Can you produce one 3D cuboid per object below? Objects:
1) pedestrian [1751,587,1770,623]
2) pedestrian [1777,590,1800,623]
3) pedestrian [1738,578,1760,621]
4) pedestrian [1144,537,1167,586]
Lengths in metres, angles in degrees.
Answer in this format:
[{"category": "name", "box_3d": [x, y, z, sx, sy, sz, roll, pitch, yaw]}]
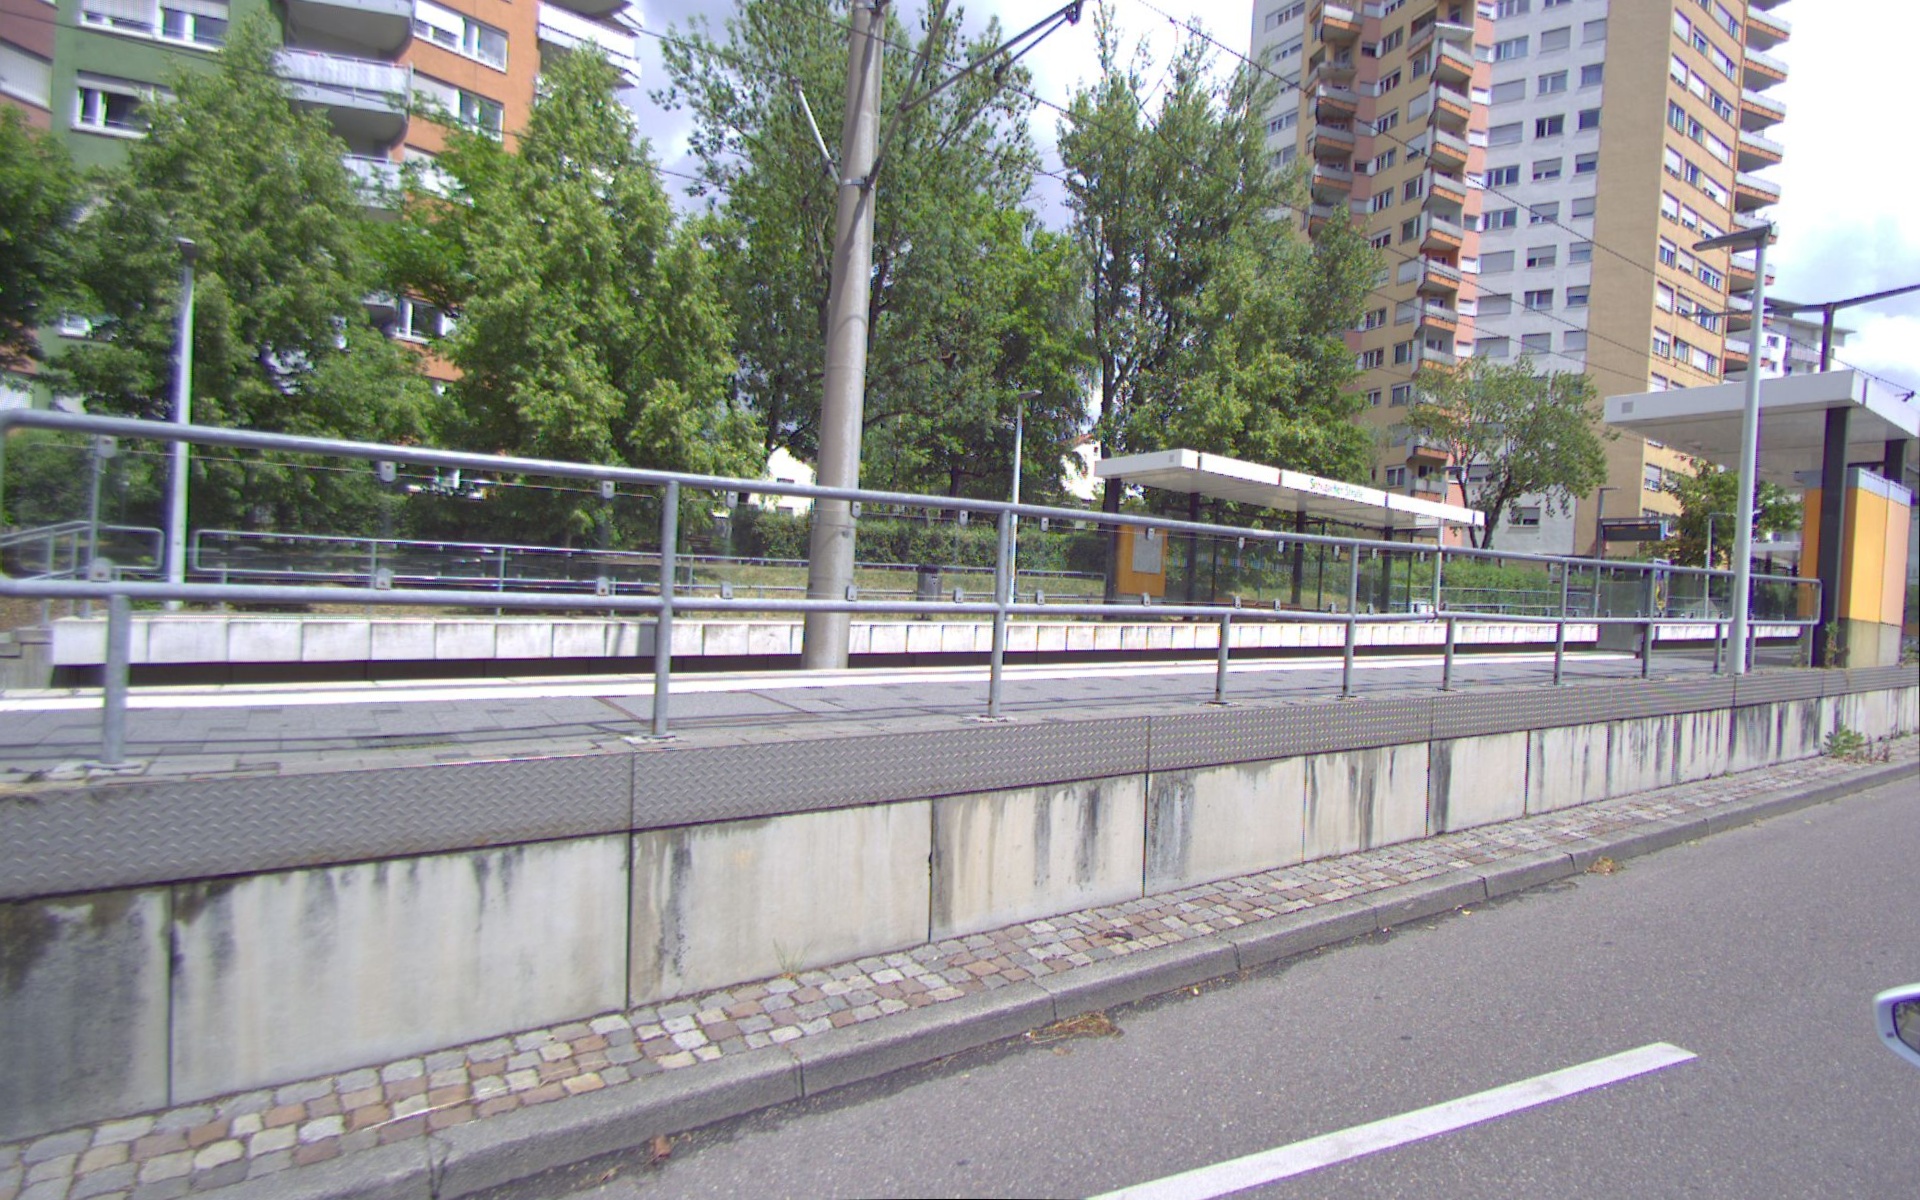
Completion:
[{"category": "pedestrian", "box_3d": [32.193, 0.207, 40.407, 0.518, 1.397, 0.536, 5, -3, -45]}, {"category": "pedestrian", "box_3d": [35.177, 0.265, 42.634, 0.502, 1.387, 0.639, 1, 0, -36]}, {"category": "pedestrian", "box_3d": [31.550, -0.018, 40.158, 0.511, 1.666, 0.564, 1, 0, 21]}, {"category": "pedestrian", "box_3d": [7.054, -1.390, 36.224, 0.499, 1.735, 0.645, 1, 0, -36]}]
